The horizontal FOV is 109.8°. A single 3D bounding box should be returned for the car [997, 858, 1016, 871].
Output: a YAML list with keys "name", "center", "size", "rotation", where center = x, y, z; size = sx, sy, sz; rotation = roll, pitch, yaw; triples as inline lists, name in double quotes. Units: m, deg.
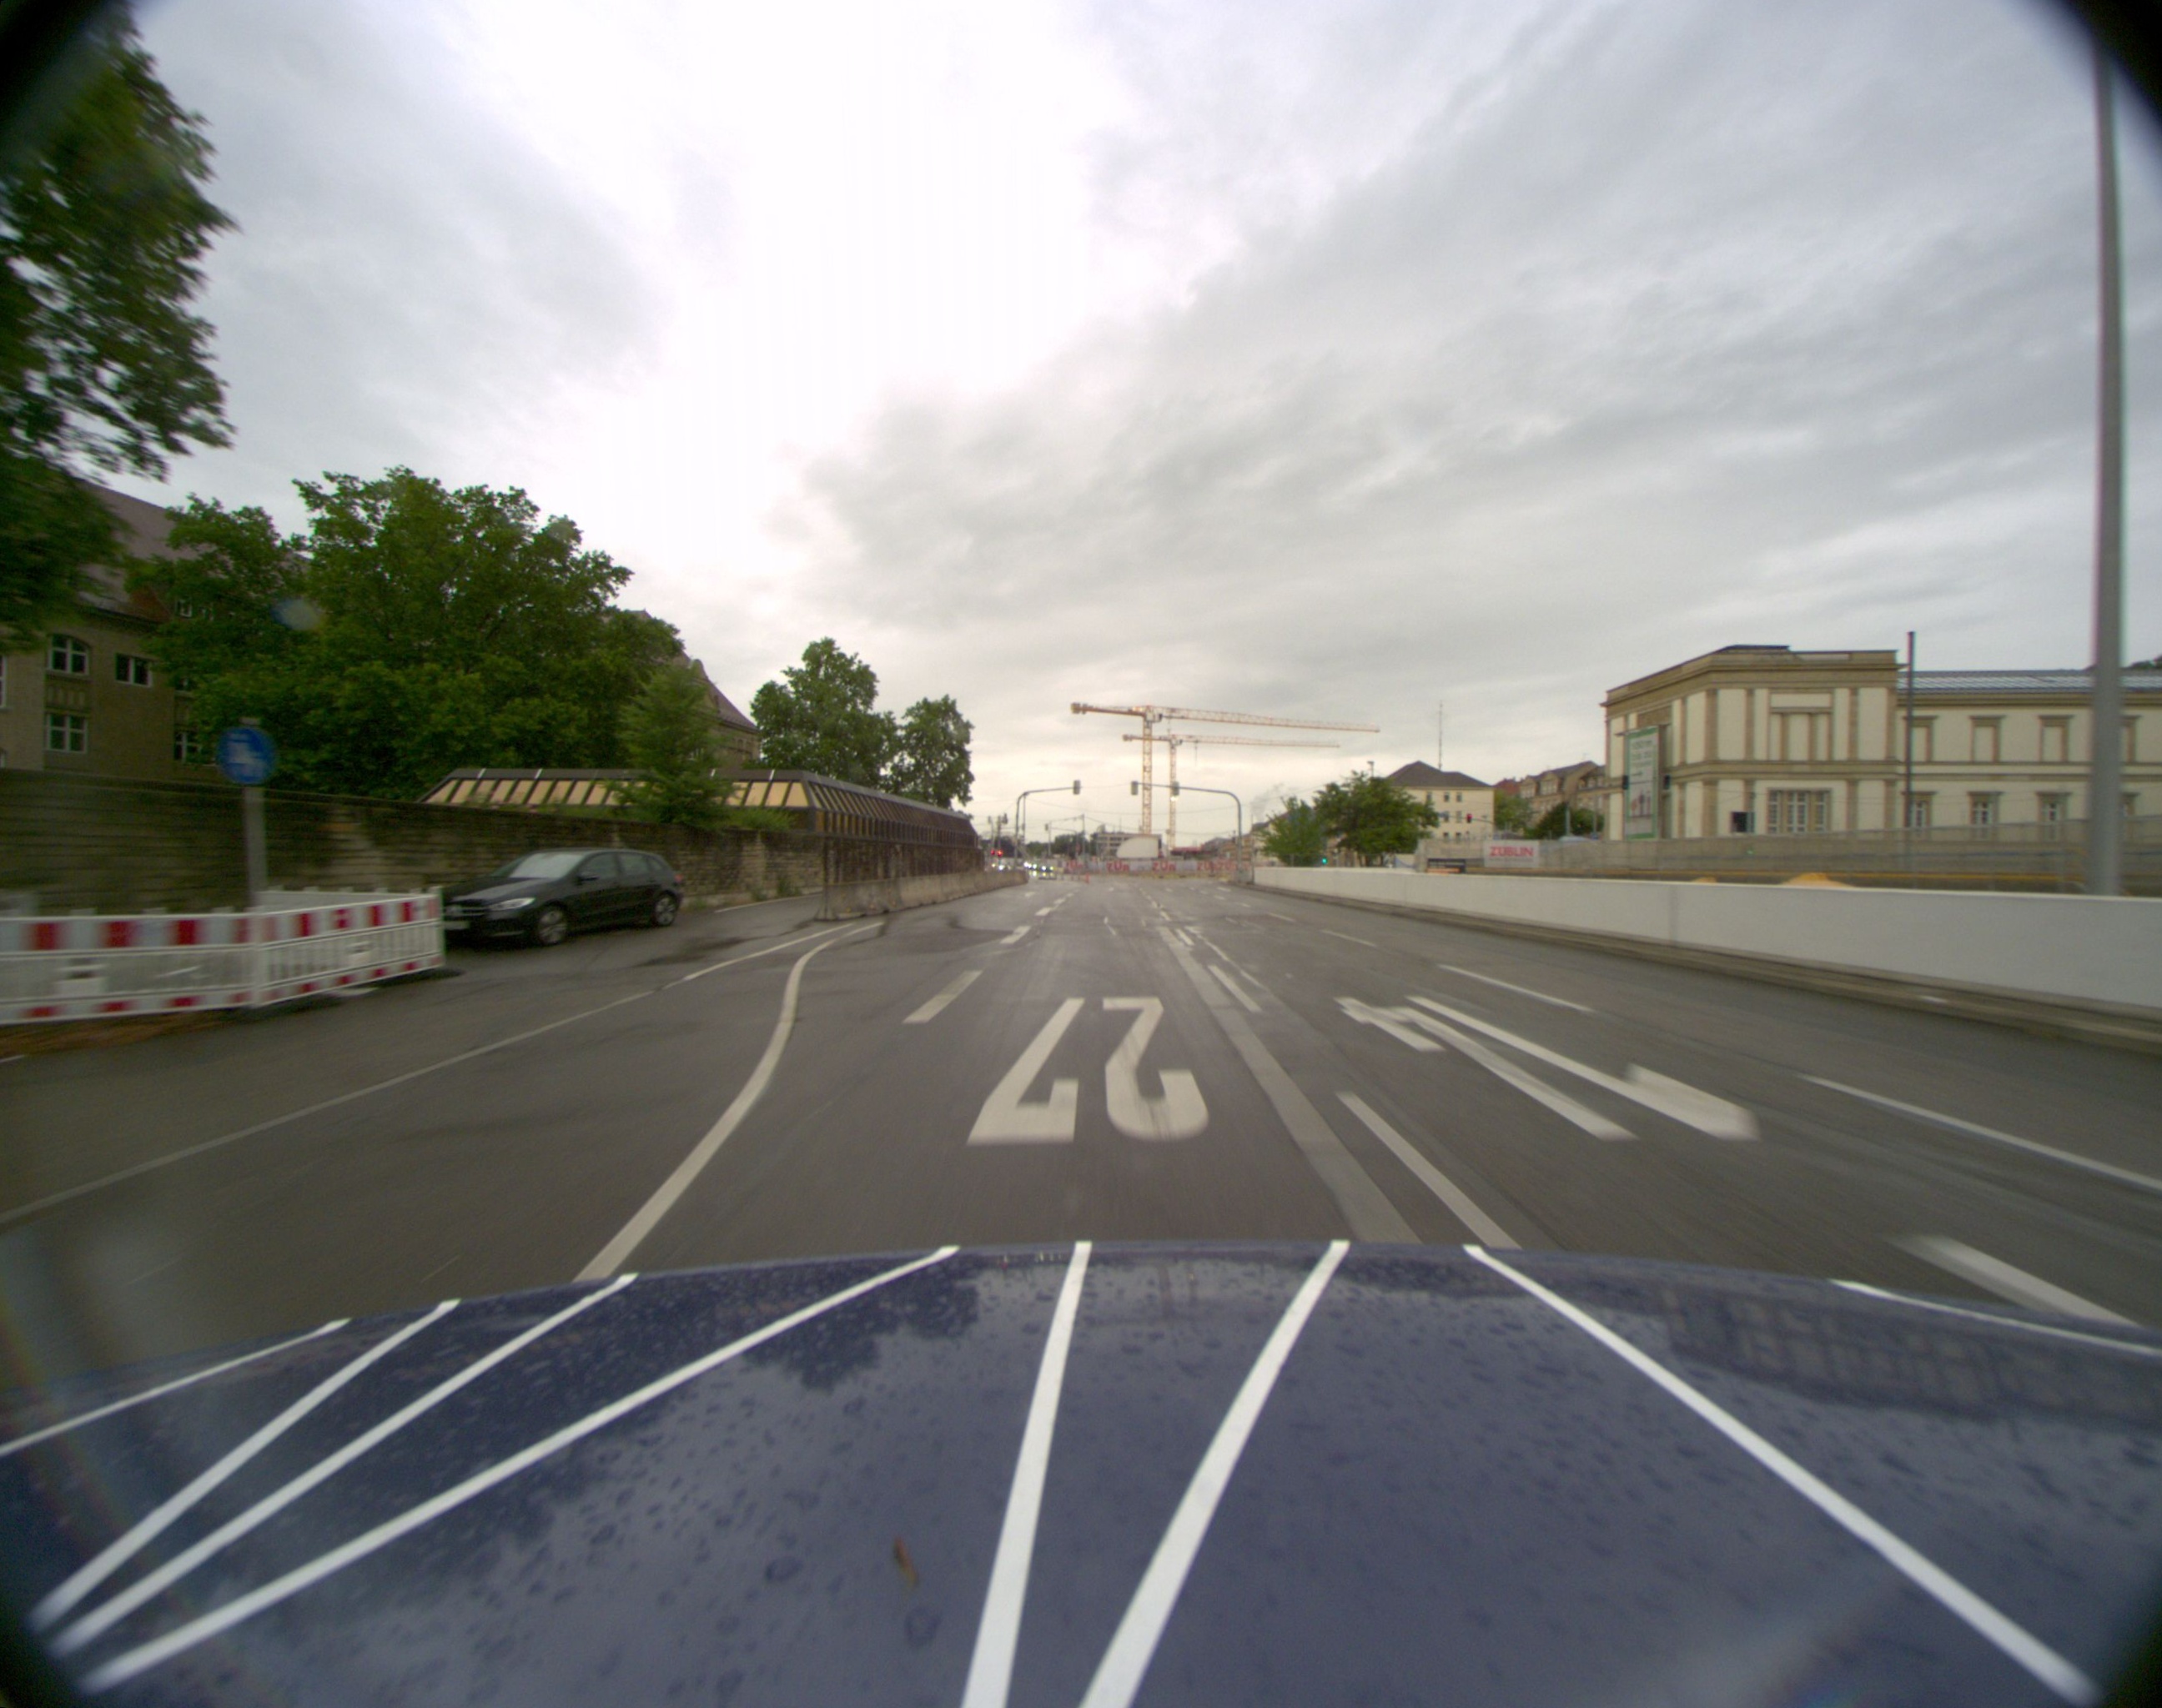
- name: "car"
  center: [-11.921, 1.734, 121.324]
  size: [2.002, 2.001, 4.416]
  rotation: [-1, 0, -18]

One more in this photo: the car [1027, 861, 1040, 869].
- name: "car"
  center: [-8.917, 2.083, 142.330]
  size: [2.000, 1.548, 4.522]
  rotation: [-1, -1, -7]

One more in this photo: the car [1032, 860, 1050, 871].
- name: "car"
  center: [-6.739, 1.958, 128.293]
  size: [2.002, 1.707, 4.416]
  rotation: [-1, 0, -18]

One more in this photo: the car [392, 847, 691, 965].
- name: "car"
  center: [-9.080, 0.743, 13.359]
  size: [1.808, 1.543, 4.326]
  rotation: [2, 3, 8]

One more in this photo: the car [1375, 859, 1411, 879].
- name: "car"
  center: [32.781, 1.561, 79.952]
  size: [1.998, 2.002, 4.642]
  rotation: [-1, 1, 2]

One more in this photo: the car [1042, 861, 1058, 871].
- name: "car"
  center: [-4.994, 1.922, 122.821]
  size: [1.862, 1.556, 3.797]
  rotation: [-1, 0, -14]

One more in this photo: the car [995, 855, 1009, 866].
- name: "car"
  center: [-13.390, 1.116, 128.568]
  size: [2.000, 1.761, 4.354]
  rotation: [-1, 0, -9]
